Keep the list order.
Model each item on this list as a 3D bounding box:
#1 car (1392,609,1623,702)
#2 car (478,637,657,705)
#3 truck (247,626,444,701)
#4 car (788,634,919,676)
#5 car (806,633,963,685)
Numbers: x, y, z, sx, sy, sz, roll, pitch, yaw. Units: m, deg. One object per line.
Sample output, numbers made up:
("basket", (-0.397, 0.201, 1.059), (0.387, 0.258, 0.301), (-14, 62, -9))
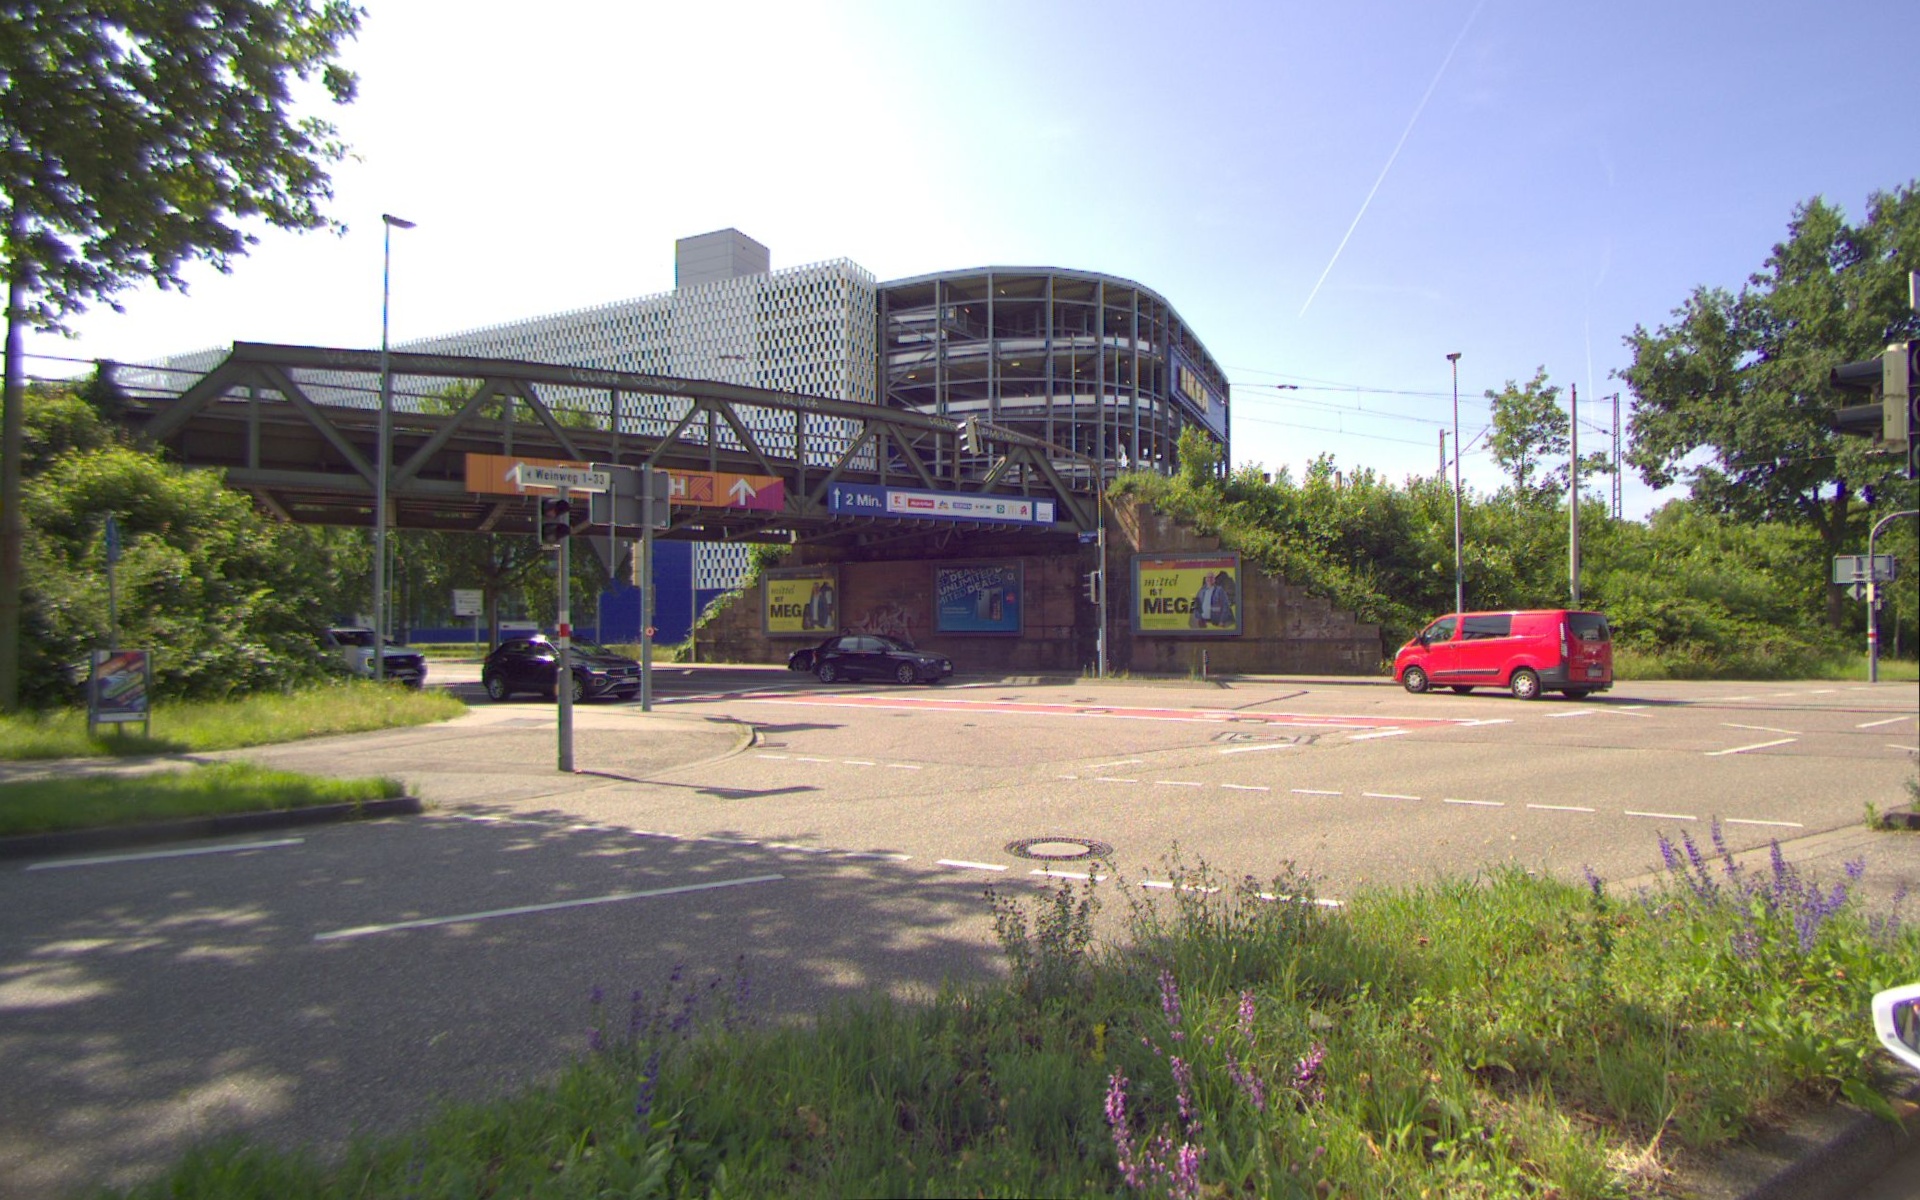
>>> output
("car", (12.693, 1.258, 23.643), (1.948, 1.950, 4.533), (1, -2, -25))
("car", (-9.410, 1.641, 24.073), (3.869, 1.500, 1.822), (-1, -2, 25))
("truck", (-16.822, 1.675, 27.489), (5.225, 1.844, 2.031), (-1, 0, 25))
("car", (-3.754, 1.912, 35.389), (4.242, 1.415, 1.791), (-1, -2, 24))
("car", (-2.202, 1.694, 29.206), (4.252, 1.413, 1.770), (-1, -2, 24))
